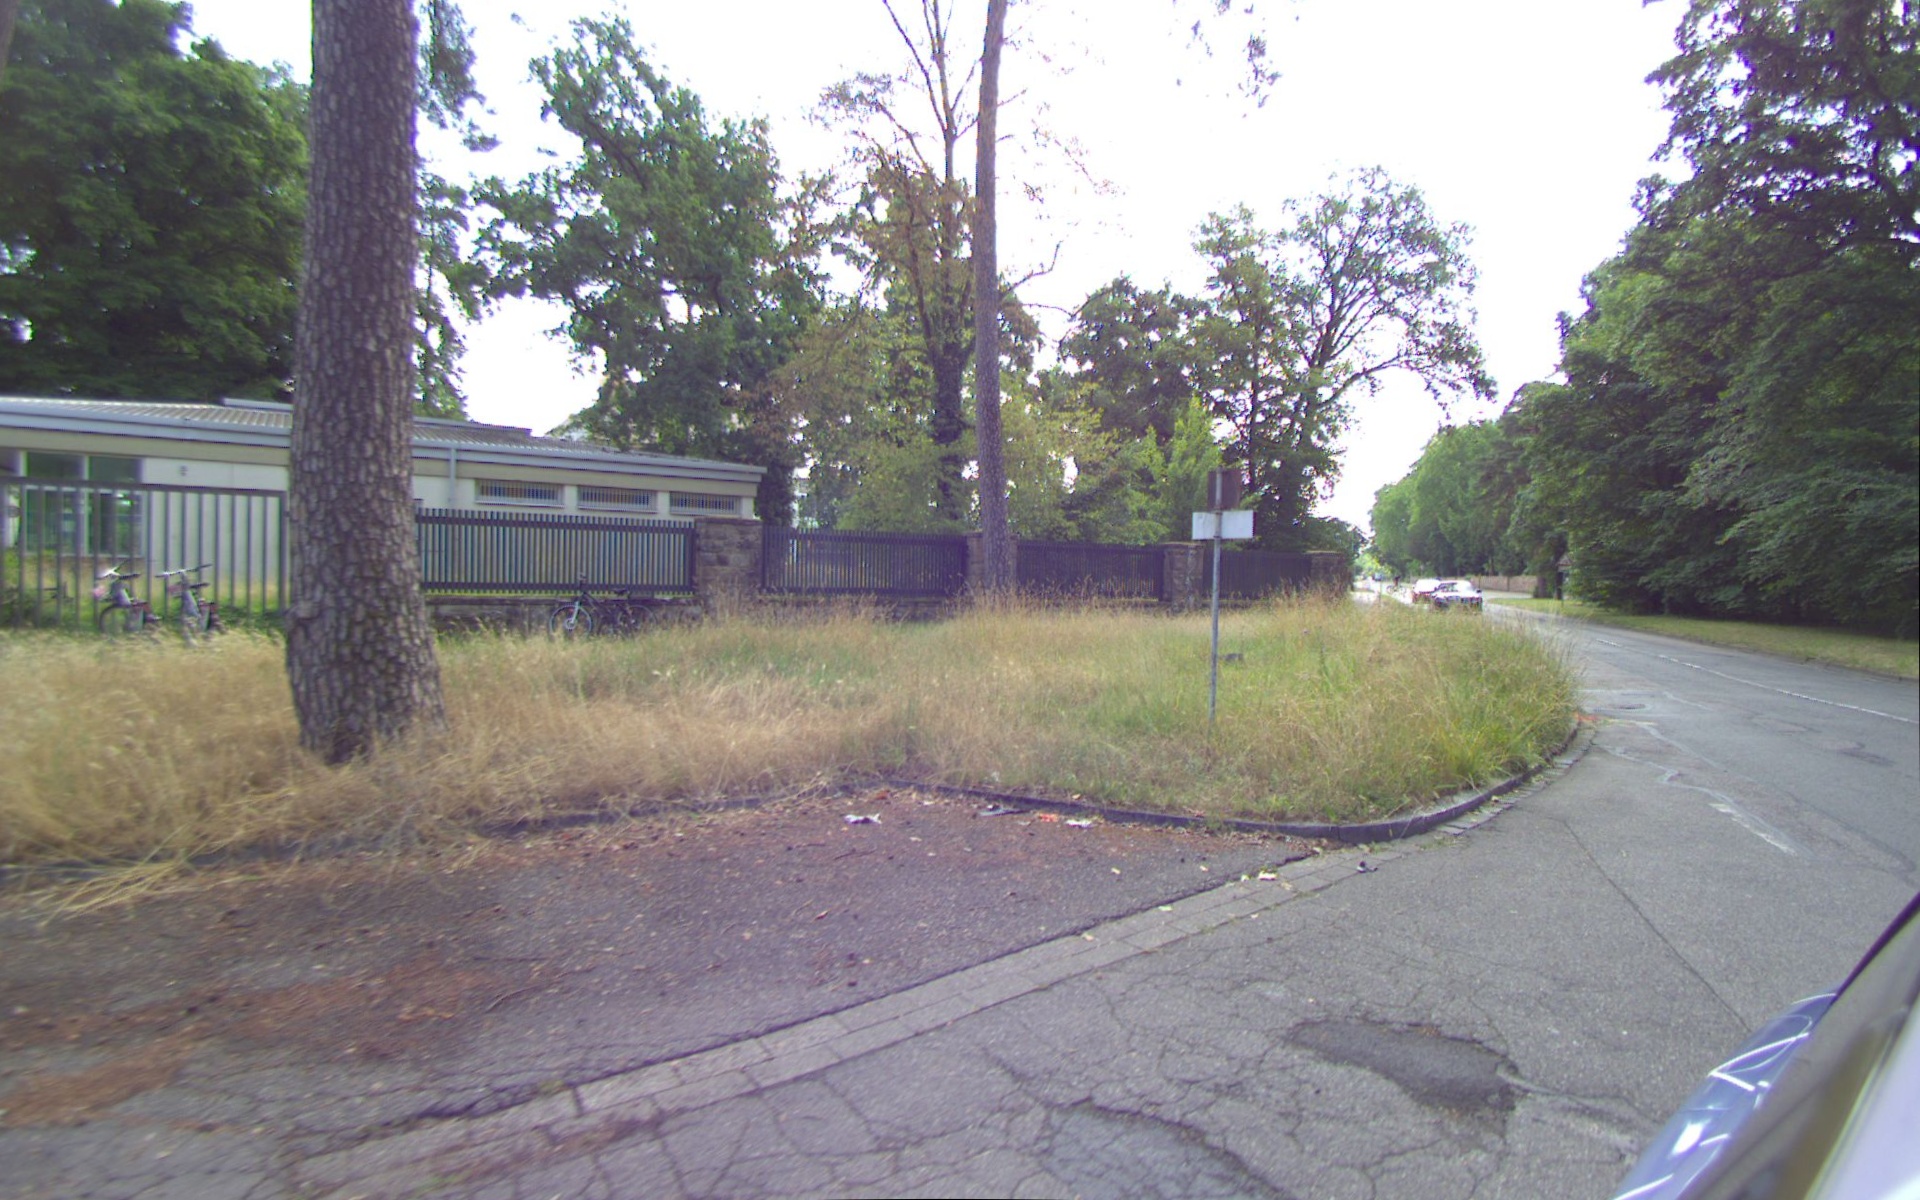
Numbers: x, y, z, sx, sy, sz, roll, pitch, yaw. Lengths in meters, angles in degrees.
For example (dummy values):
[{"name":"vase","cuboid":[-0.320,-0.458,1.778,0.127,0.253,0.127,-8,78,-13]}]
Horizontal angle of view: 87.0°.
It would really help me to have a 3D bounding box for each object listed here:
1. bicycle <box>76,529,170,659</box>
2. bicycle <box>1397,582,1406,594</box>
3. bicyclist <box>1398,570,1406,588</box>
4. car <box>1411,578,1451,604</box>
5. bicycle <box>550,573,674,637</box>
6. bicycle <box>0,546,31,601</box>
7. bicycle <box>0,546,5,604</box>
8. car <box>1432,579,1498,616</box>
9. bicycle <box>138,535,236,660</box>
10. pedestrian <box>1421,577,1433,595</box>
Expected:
[{"name":"bicycle","cuboid":[-10.072,-0.110,12.159,1.791,1.434,0.580,4,3,41]},{"name":"bicycle","cuboid":[39.383,-1.058,90.306,0.553,1.086,2.142,3,2,21]},{"name":"bicyclist","cuboid":[39.312,-1.851,90.060,0.565,1.607,1.197,3,1,21]},{"name":"car","cuboid":[28.827,-0.589,62.043,1.977,1.482,4.173,2,2,22]},{"name":"bicycle","cuboid":[-5.784,0.070,16.879,1.916,1.029,0.373,0,2,-35]},{"name":"bicycle","cuboid":[-20.858,-0.555,21.240,0.400,1.185,1.991,-1,0,43]},{"name":"bicycle","cuboid":[-20.444,-0.493,20.232,1.921,1.185,0.485,-1,0,-40]},{"name":"car","cuboid":[21.194,-0.071,42.629,1.942,1.483,4.499,0,-1,20]},{"name":"bicycle","cuboid":[-9.616,-0.072,12.559,1.974,1.434,0.570,4,3,41]},{"name":"pedestrian","cuboid":[42.772,-1.278,92.687,0.829,1.672,0.616,3,-1,38]}]
